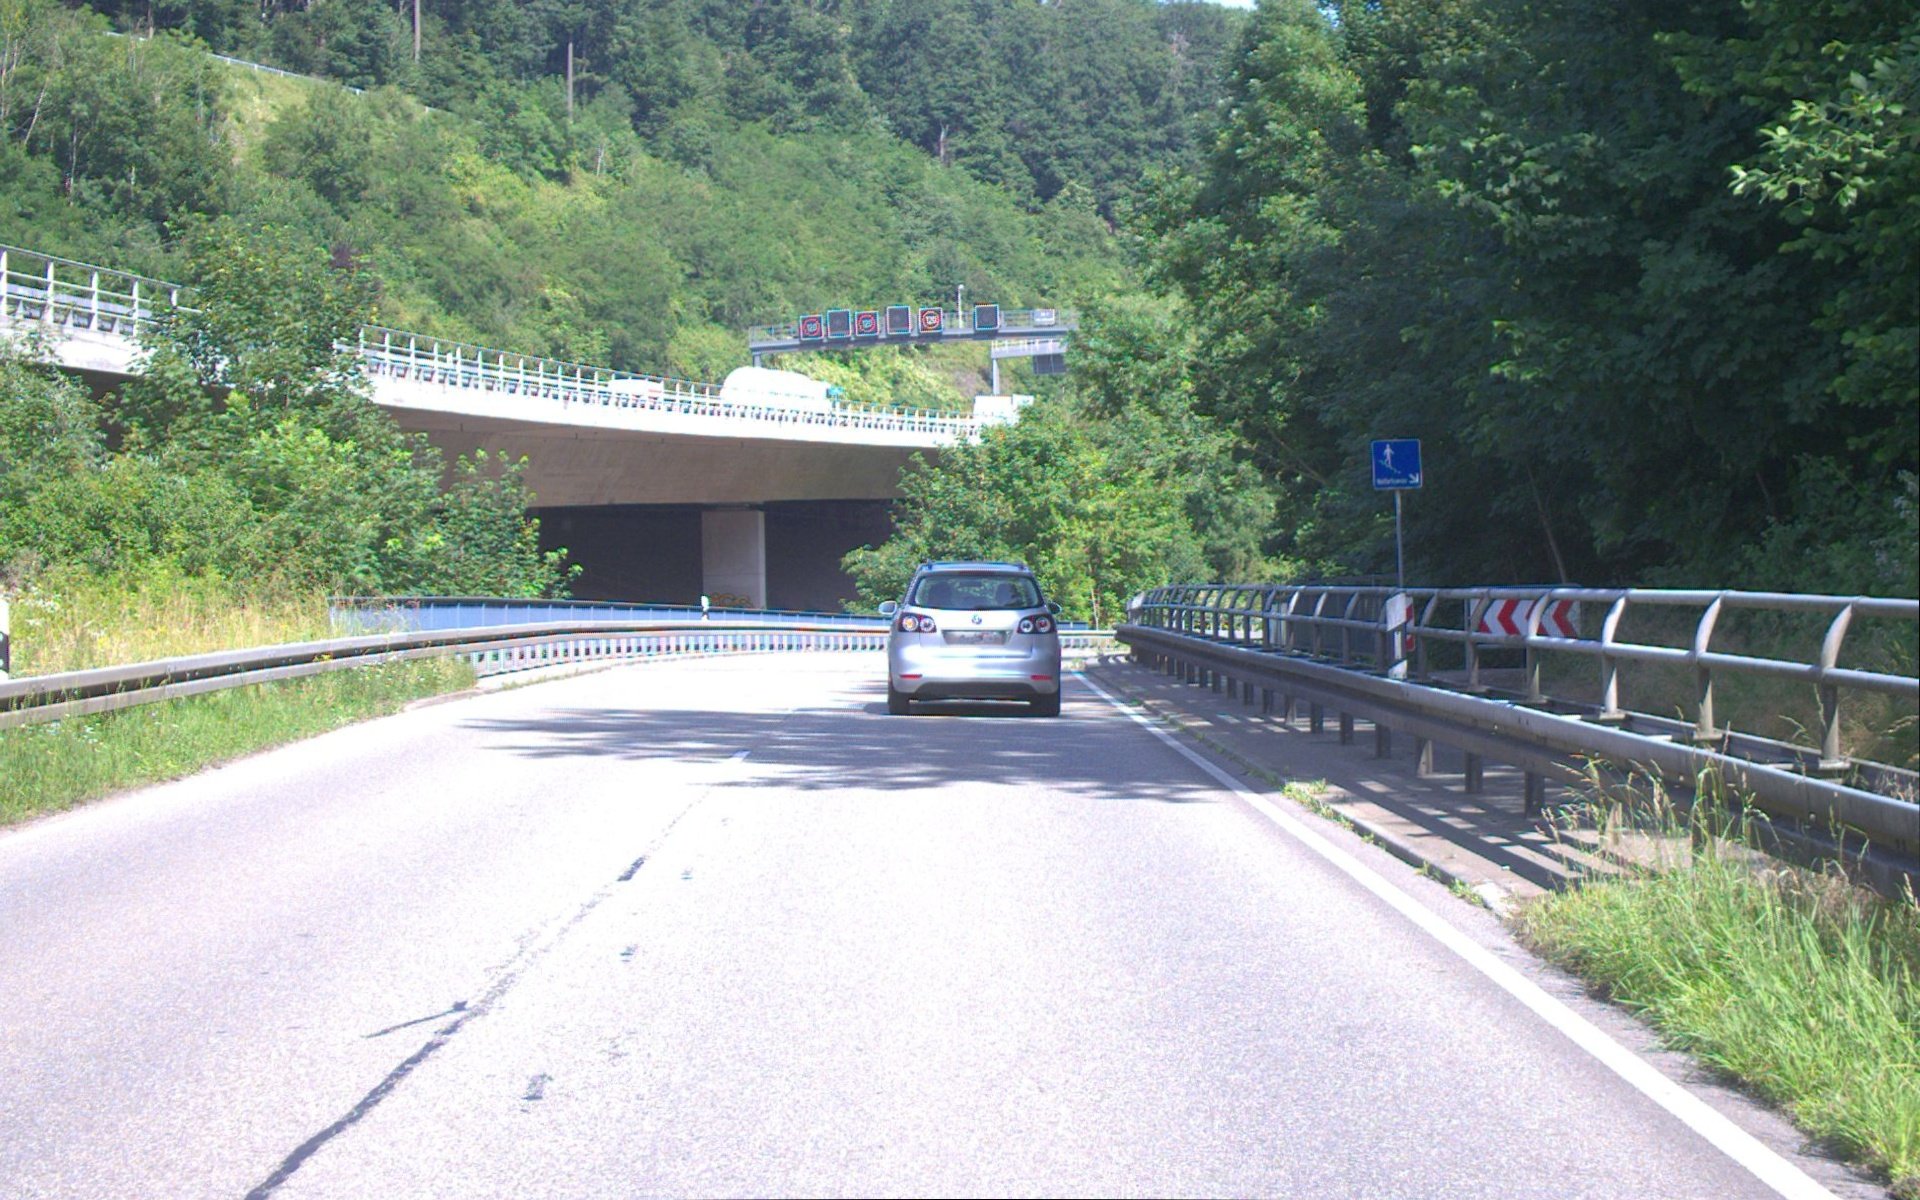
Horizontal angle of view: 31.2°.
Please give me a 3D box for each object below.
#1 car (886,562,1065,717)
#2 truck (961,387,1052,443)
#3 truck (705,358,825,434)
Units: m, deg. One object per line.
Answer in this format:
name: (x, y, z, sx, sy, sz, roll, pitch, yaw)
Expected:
car: (0.129, 0.365, 35.811, 1.751, 1.515, 4.159, 0, 1, -1)
truck: (3.081, -12.007, 224.310, 3.761, 3.373, 10.502, 1, 2, 13)
truck: (-9.504, -9.981, 169.048, 3.372, 3.343, 10.171, 1, 1, 11)
